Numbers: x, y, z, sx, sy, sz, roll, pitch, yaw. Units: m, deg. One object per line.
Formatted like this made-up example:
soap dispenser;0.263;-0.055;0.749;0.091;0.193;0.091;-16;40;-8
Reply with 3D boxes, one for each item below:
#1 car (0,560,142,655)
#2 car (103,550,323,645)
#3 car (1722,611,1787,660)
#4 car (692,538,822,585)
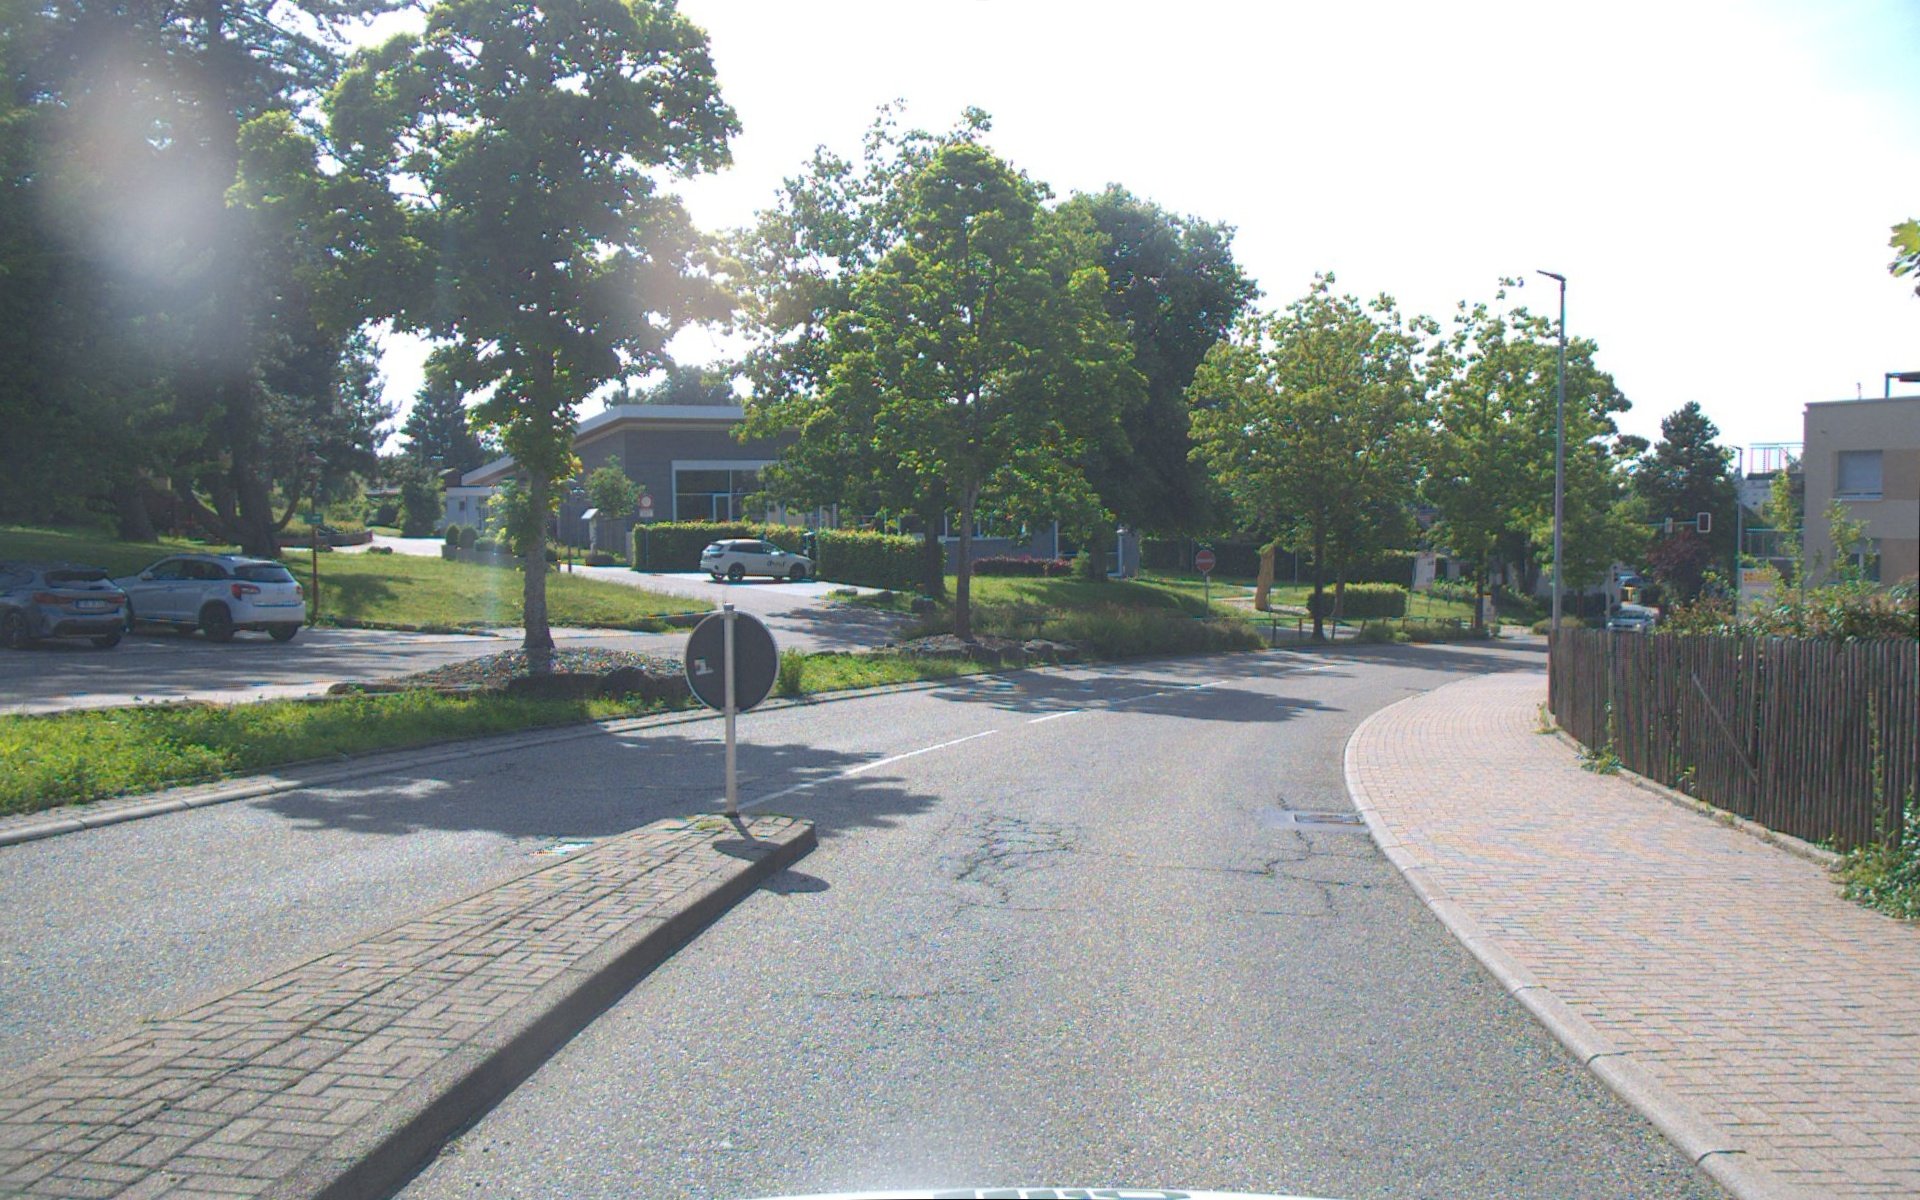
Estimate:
car;-16.126;0.086;28.604;3.632;1.458;1.773;3;1;29
car;-14.599;-0.063;32.326;3.850;1.637;1.775;3;1;24
car;27.416;1.195;57.031;1.677;1.562;3.998;1;0;31
car;-7.925;-1.534;64.655;4.672;1.560;1.979;-2;7;-33
